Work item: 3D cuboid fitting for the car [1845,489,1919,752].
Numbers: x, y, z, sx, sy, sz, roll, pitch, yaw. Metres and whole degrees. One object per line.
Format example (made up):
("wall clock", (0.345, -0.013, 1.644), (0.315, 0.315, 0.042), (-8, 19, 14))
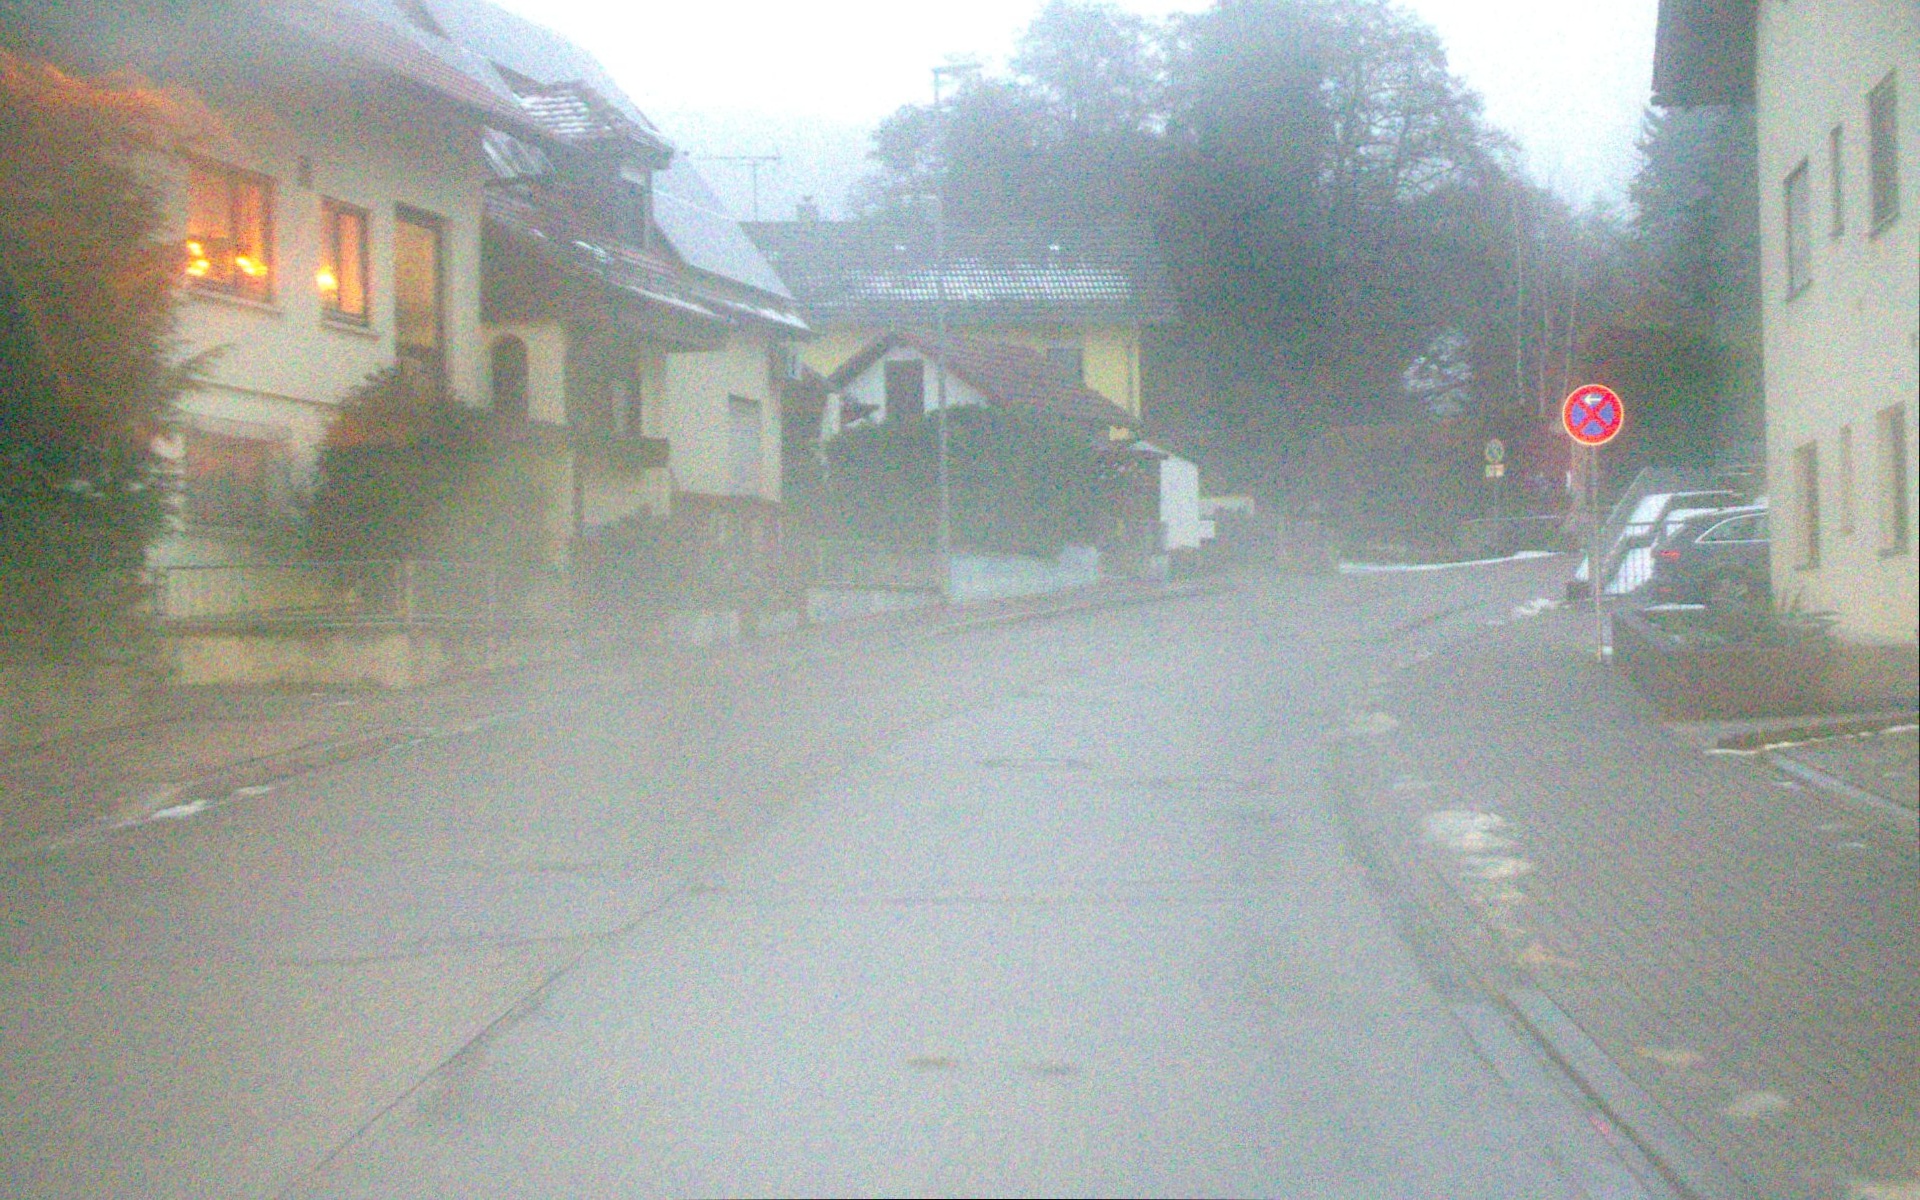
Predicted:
("car", (7.449, -0.197, 19.483), (4.280, 1.452, 1.779), (-9, 0, 3))

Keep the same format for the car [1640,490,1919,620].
("car", (10.953, -0.609, 43.527), (4.507, 1.438, 1.999), (-3, 2, 12))
